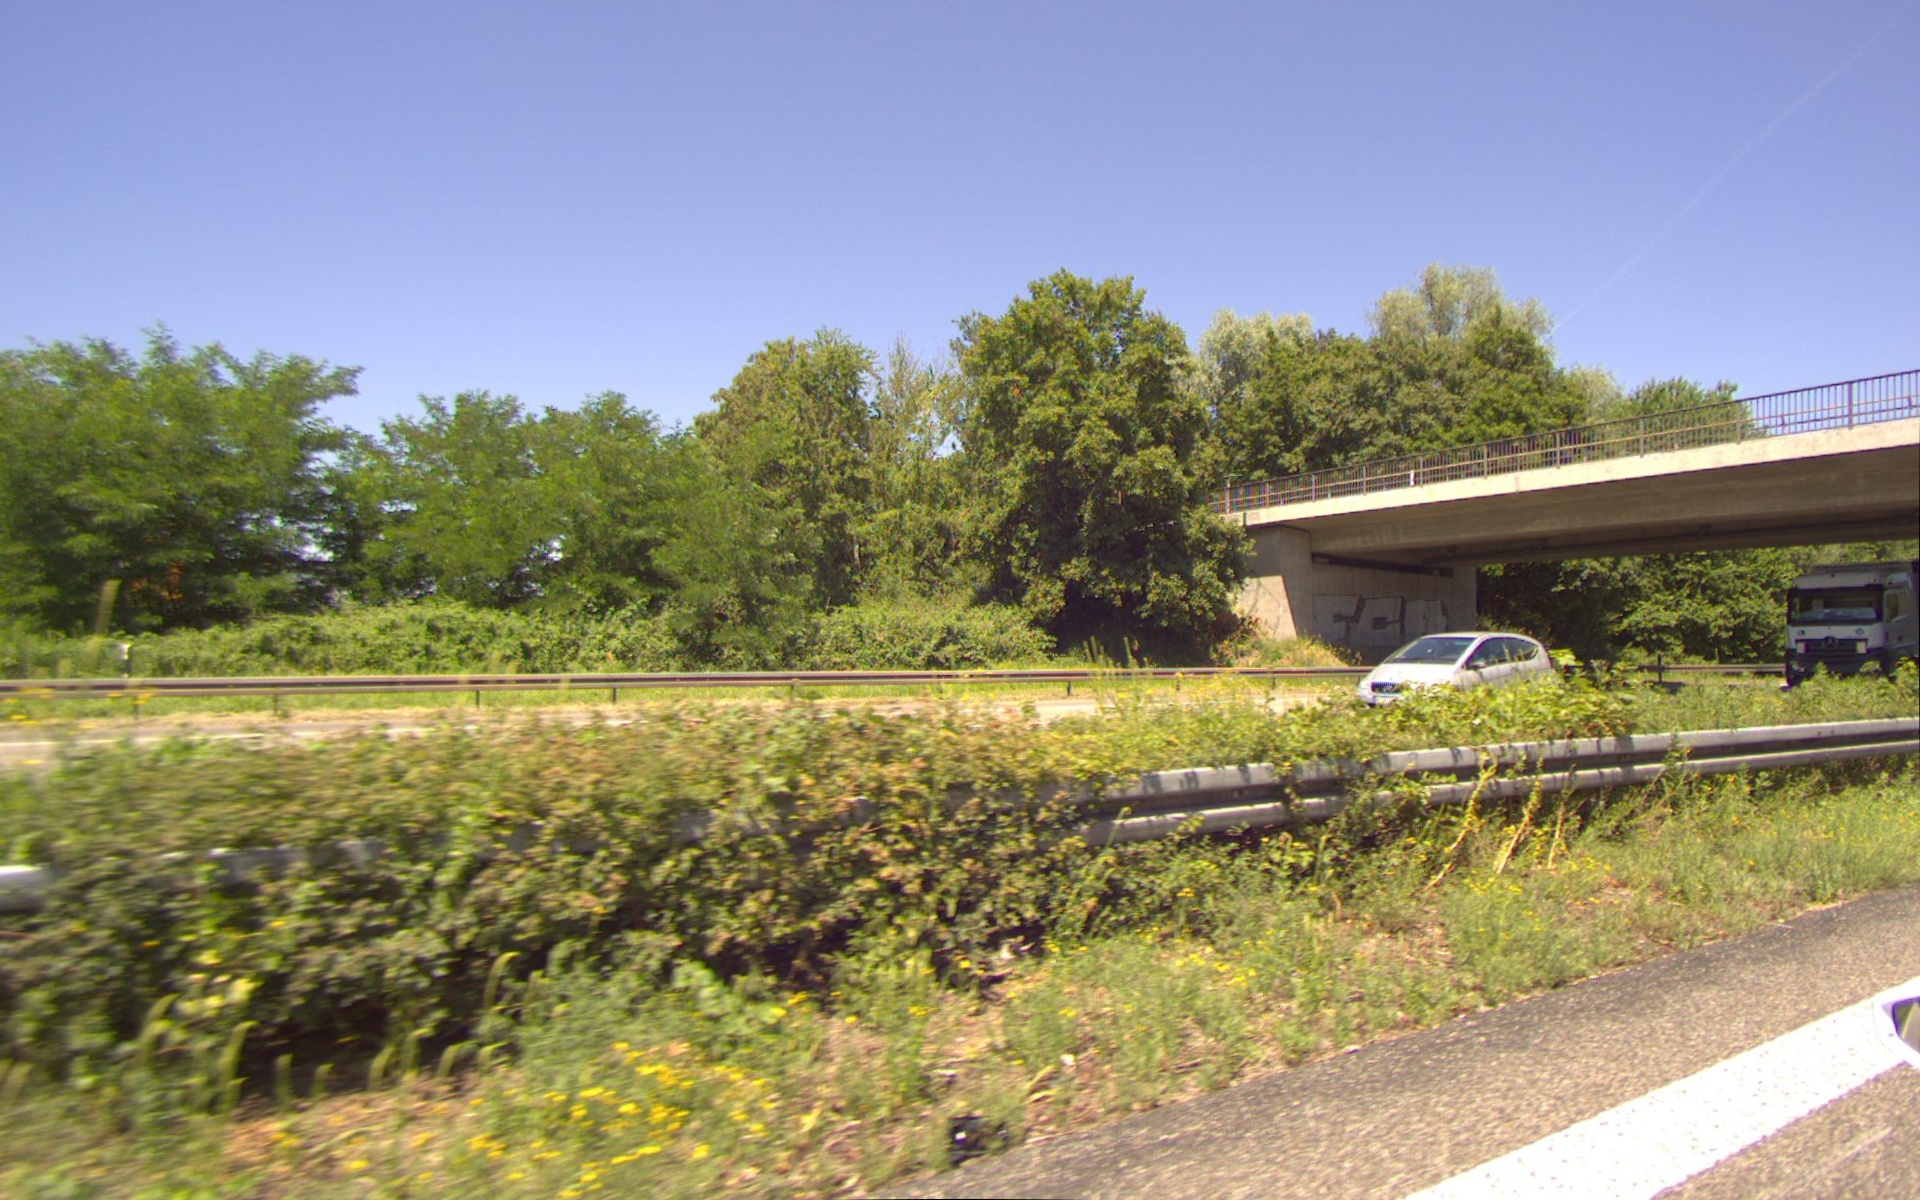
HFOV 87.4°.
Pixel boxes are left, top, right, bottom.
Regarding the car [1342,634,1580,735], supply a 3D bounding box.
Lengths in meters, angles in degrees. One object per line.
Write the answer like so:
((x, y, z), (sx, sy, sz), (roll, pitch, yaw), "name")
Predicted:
((8.906, 1.411, 17.787), (4.195, 1.573, 1.889), (2, -2, -32), "car")

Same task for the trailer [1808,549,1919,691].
((34.284, 0.832, 34.943), (13.673, 4.279, 2.816), (2, -3, -30), "trailer")

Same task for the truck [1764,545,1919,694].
((28.195, 0.681, 31.369), (5.819, 4.266, 2.816), (1, -3, -30), "truck")
